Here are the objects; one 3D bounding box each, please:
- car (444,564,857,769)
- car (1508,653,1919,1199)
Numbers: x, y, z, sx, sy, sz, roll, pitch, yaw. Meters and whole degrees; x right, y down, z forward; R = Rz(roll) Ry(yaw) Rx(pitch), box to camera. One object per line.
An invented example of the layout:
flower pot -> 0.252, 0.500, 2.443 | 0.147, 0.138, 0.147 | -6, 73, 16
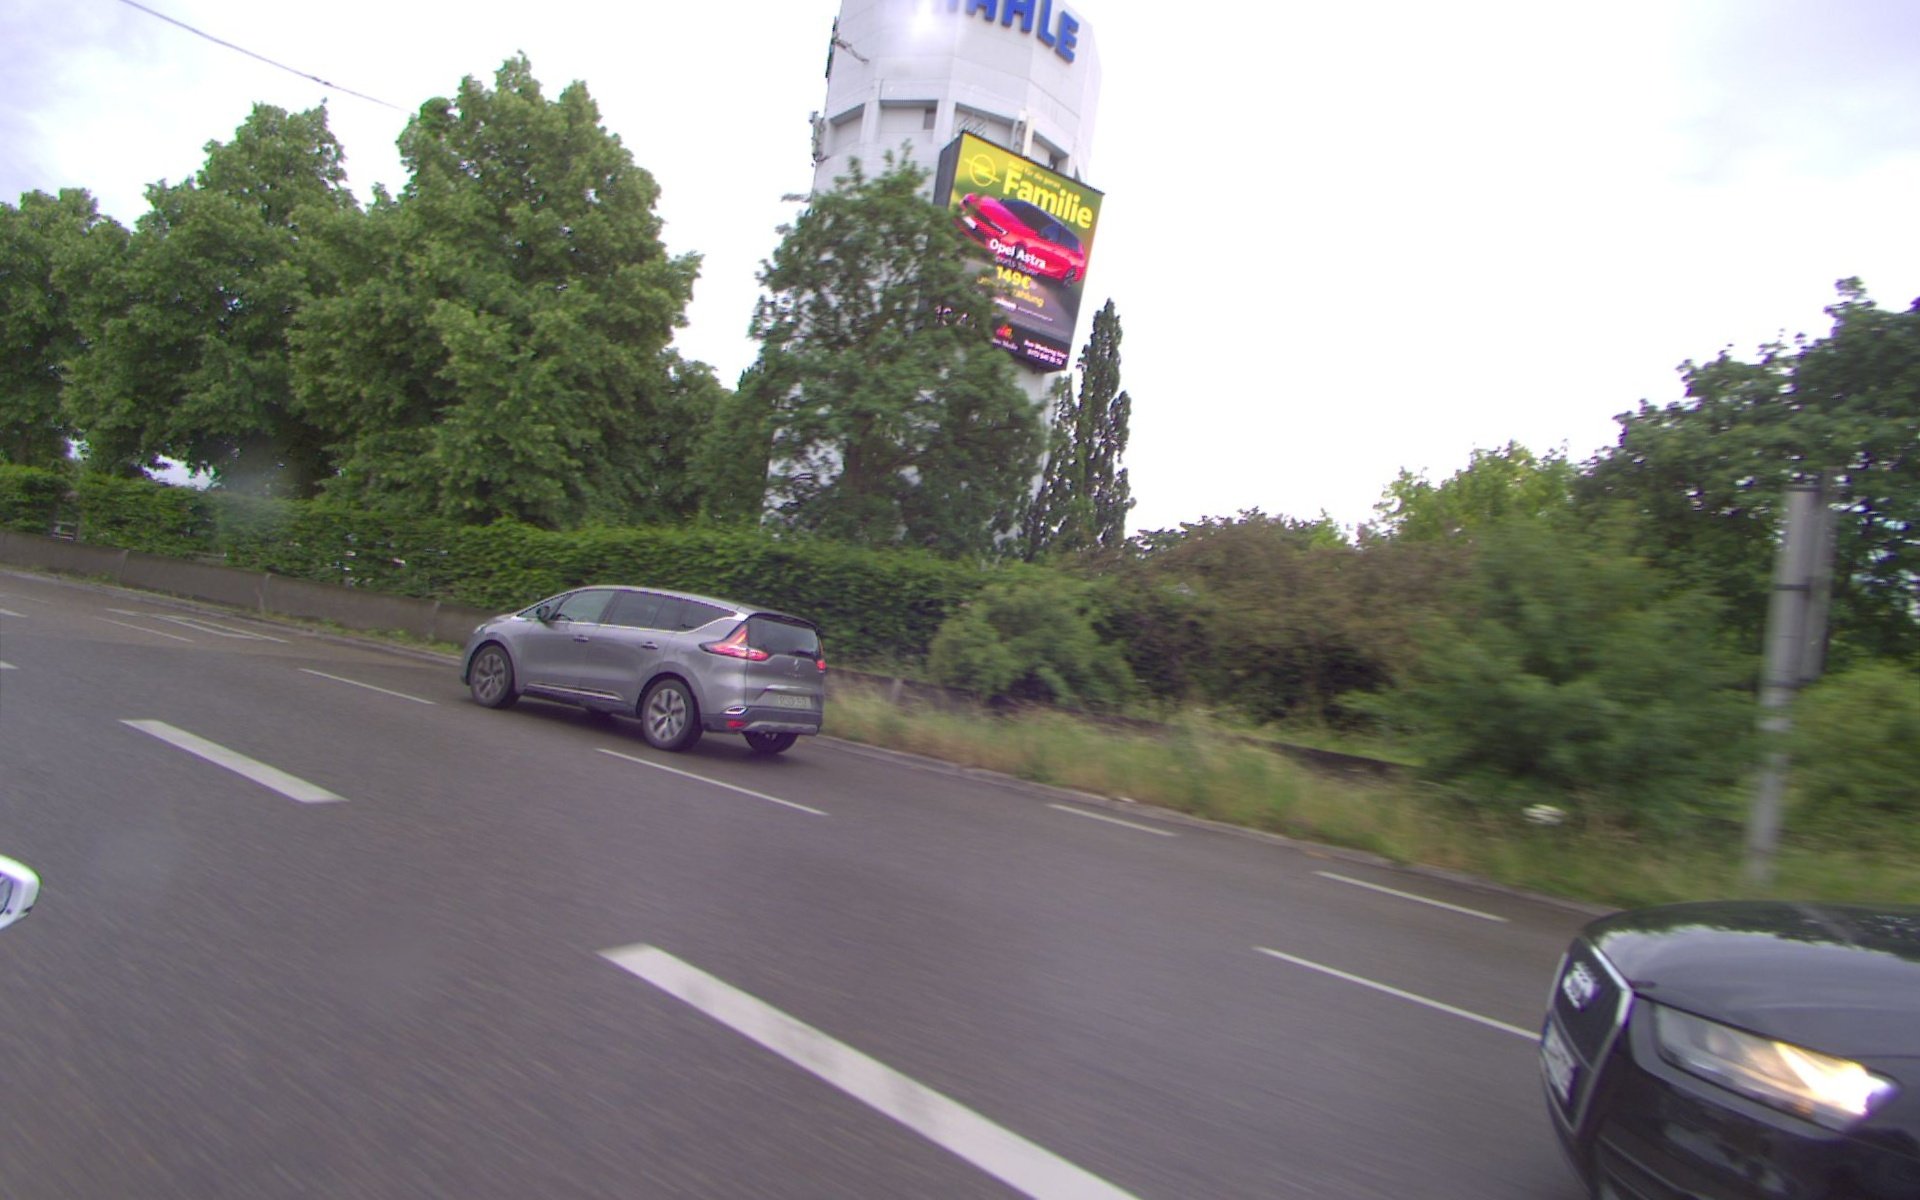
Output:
car -> -3.656, 0.729, 11.659 | 4.546, 1.666, 1.732 | 6, -5, 29
car -> 3.623, 1.195, 2.130 | 4.052, 1.551, 1.731 | 7, -2, 25
